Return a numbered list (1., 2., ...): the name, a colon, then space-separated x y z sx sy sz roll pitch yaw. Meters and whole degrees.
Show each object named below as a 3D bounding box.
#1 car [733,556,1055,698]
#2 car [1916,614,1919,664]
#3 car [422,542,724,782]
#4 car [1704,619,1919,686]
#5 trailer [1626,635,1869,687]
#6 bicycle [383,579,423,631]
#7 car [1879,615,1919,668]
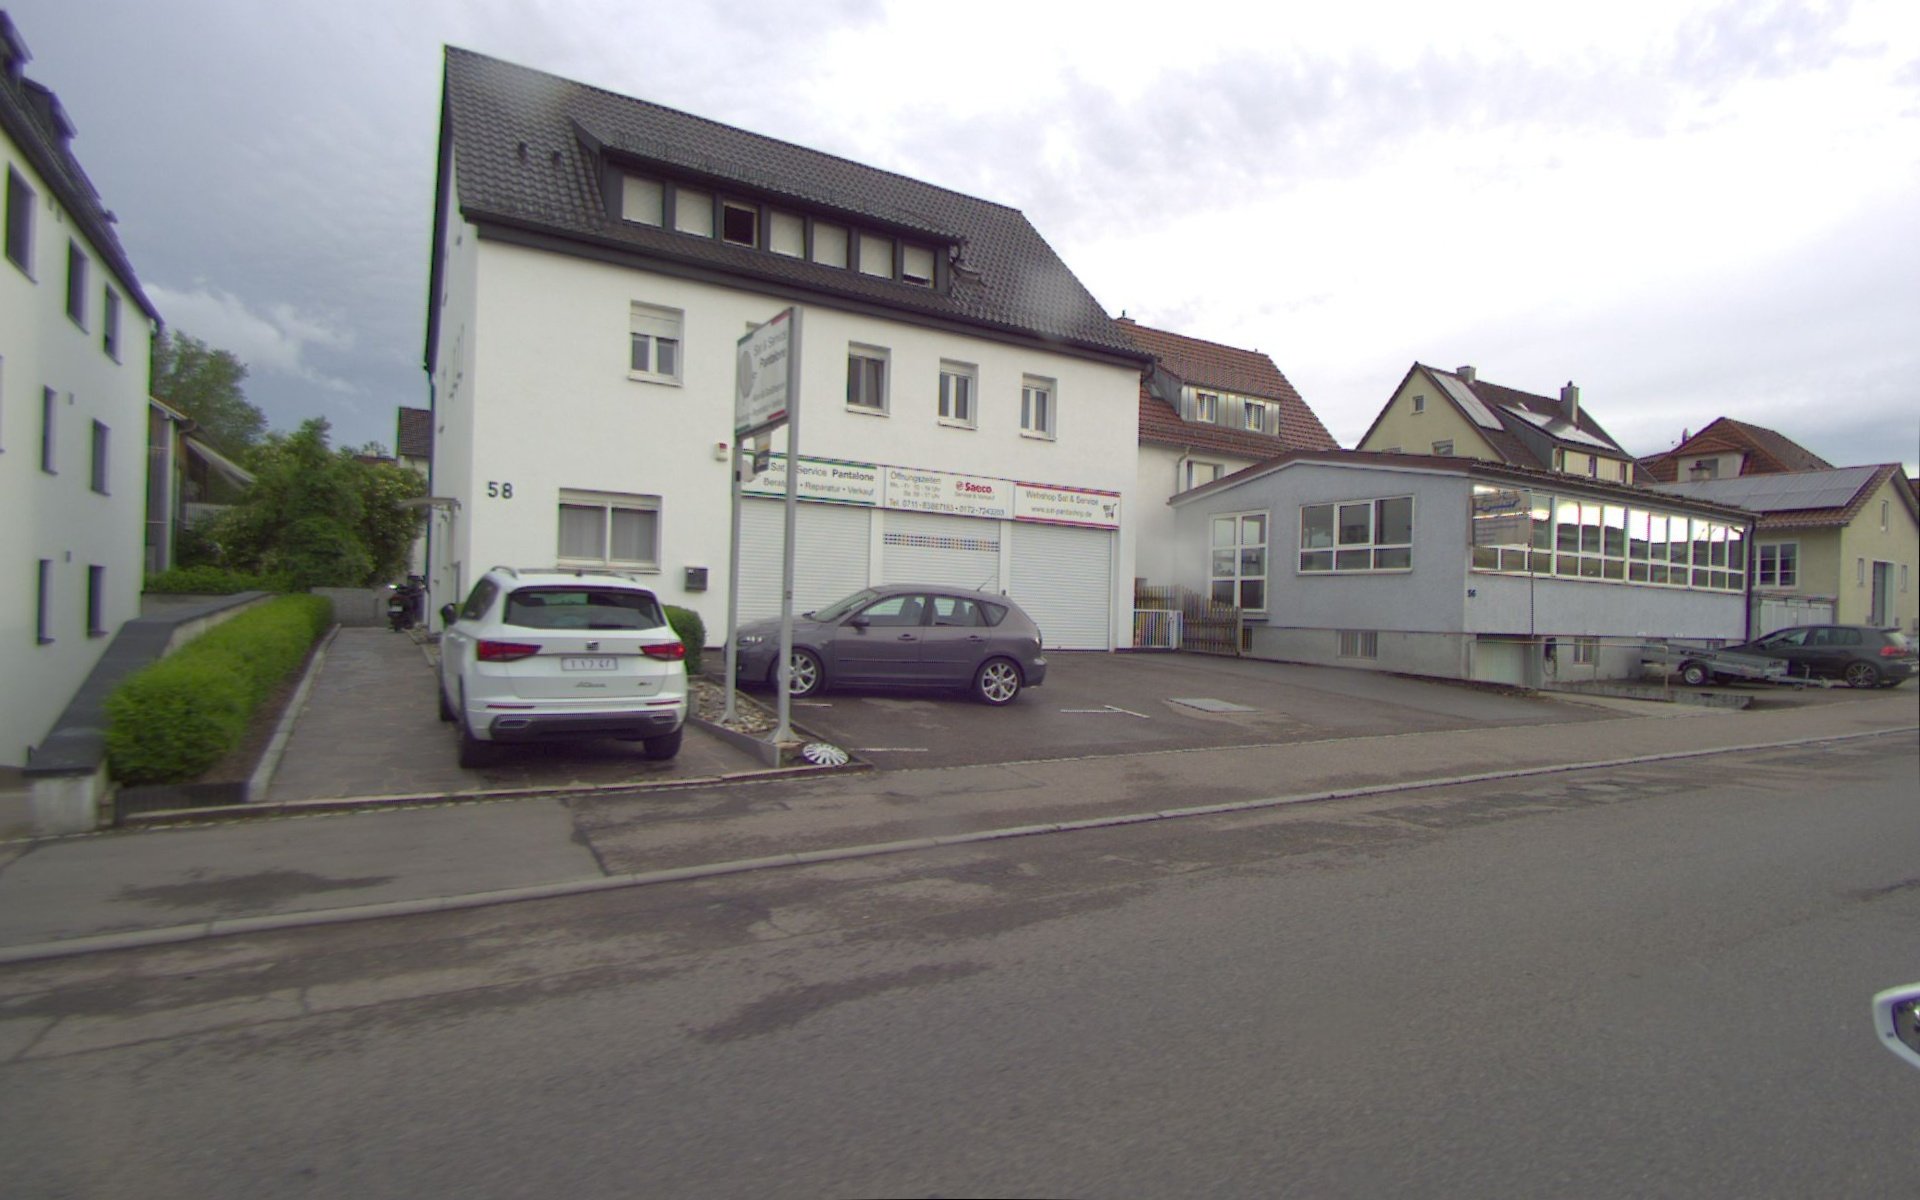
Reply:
1. car: -0.940 0.344 13.325 3.934 1.551 1.819 2 5 -16
2. car: 32.118 1.250 30.598 1.794 1.553 4.059 1 0 -33
3. car: -3.851 0.370 9.526 1.978 1.669 3.965 1 4 -31
4. car: 20.798 1.218 24.547 1.747 1.457 3.854 1 -1 -31
5. trailer: 18.403 1.376 23.661 1.774 0.955 4.174 1 0 -32
6. bicycle: -14.818 0.113 26.765 0.598 1.316 2.878 1 0 -22
7. car: 30.066 1.262 29.617 1.980 1.553 4.057 1 0 -35
